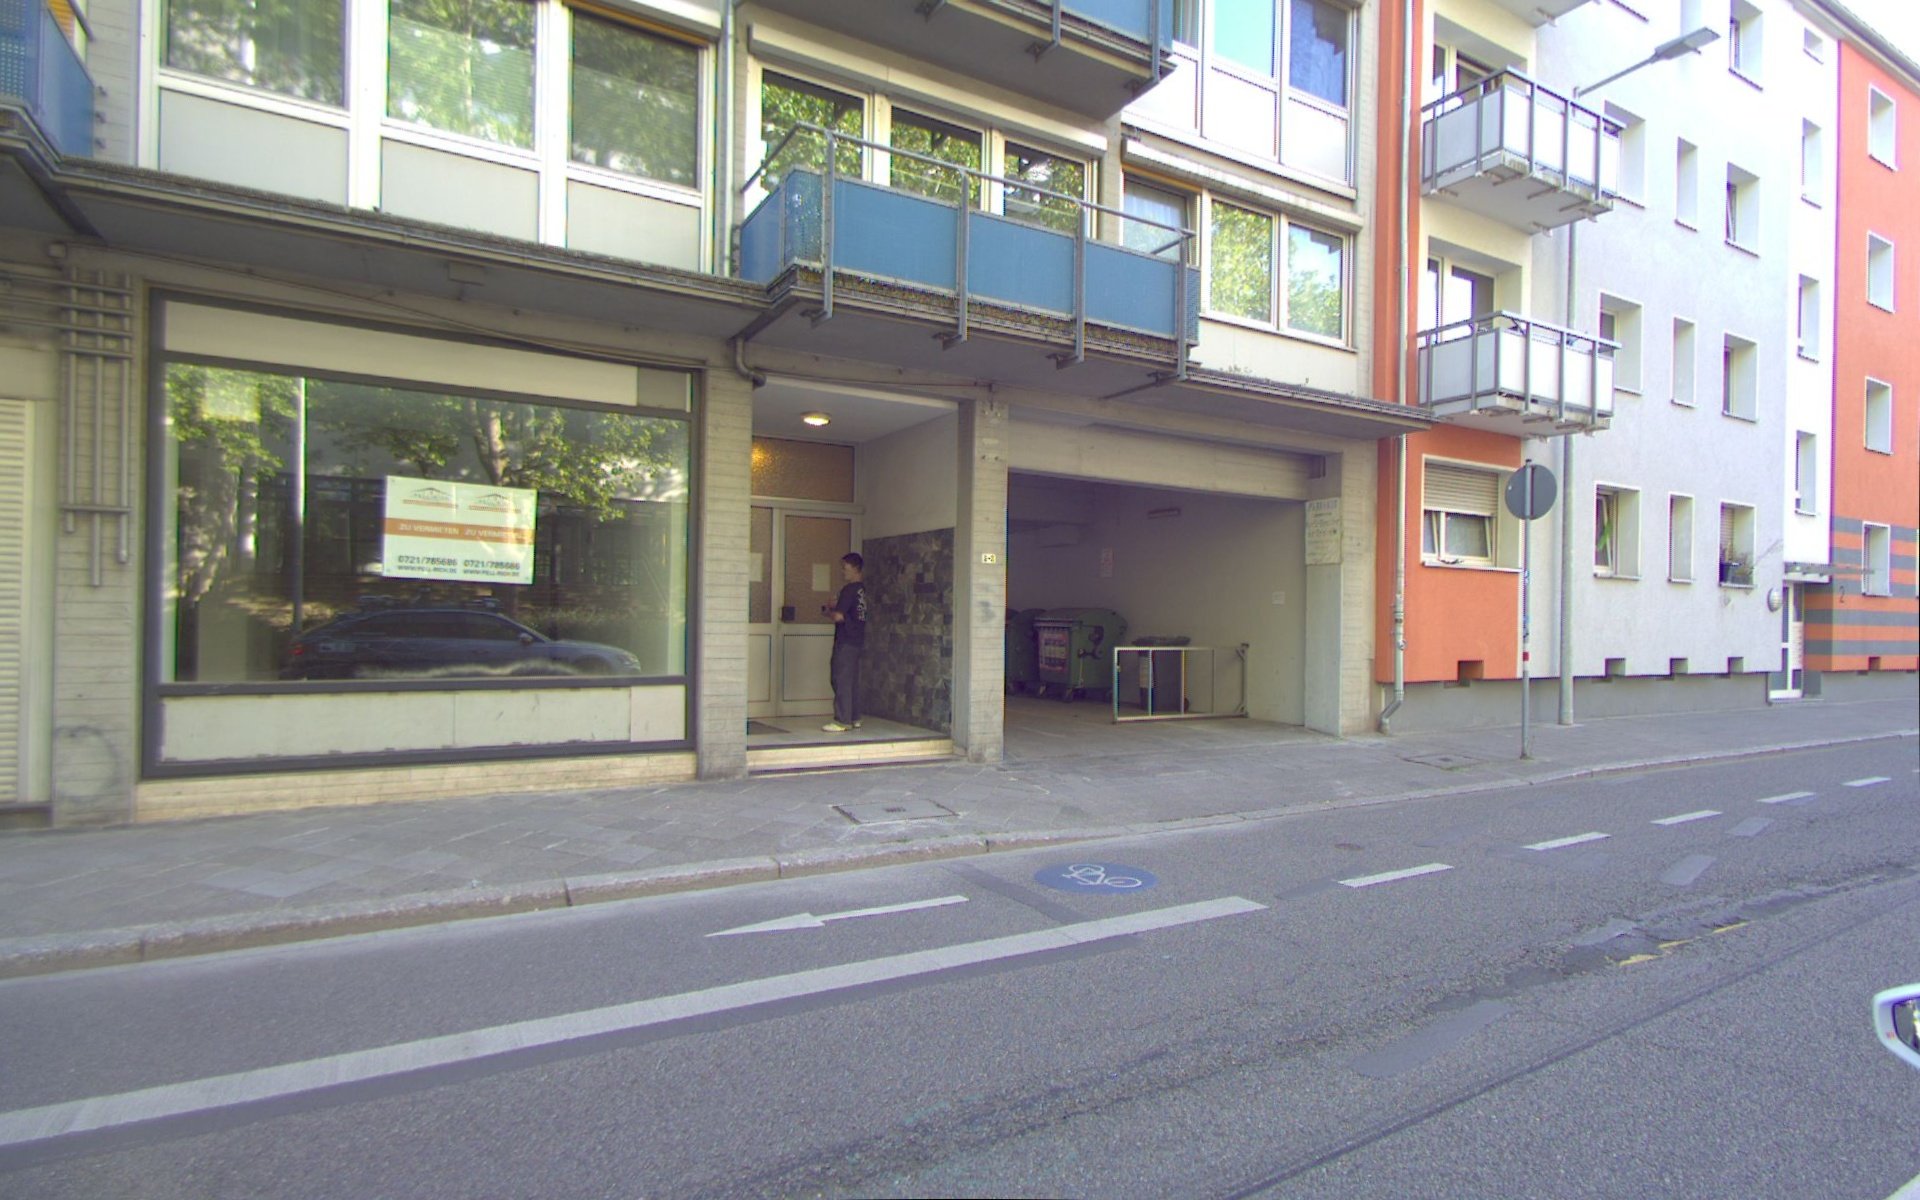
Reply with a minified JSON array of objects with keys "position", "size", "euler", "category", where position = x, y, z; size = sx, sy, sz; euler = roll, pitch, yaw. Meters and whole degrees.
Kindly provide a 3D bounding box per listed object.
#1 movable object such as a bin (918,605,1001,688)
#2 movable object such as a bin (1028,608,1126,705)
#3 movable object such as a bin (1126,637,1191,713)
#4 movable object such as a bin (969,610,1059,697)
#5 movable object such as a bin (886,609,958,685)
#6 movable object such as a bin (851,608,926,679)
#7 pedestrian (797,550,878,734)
[{"position":[-0.023,0.844,18.666],"size":[1.011,1.462,1.318],"euler":[1,0,-29],"category":"movable object such as a bin"},{"position":[1.823,0.862,15.823],"size":[1.009,1.438,1.321],"euler":[1,0,-23],"category":"movable object such as a bin"},{"position":[2.870,1.066,14.501],"size":[0.704,1.054,0.583],"euler":[1,0,-30],"category":"movable object such as a bin"},{"position":[0.903,0.880,17.158],"size":[1.011,1.409,1.319],"euler":[1,0,-27],"category":"movable object such as a bin"},{"position":[-0.754,0.901,19.667],"size":[1.012,1.409,1.046],"euler":[1,0,-31],"category":"movable object such as a bin"},{"position":[-1.485,0.872,20.659],"size":[1.014,1.409,1.264],"euler":[1,0,-37],"category":"movable object such as a bin"},{"position":[-1.223,0.407,10.077],"size":[0.518,1.764,0.630],"euler":[1,0,27],"category":"pedestrian"}]
